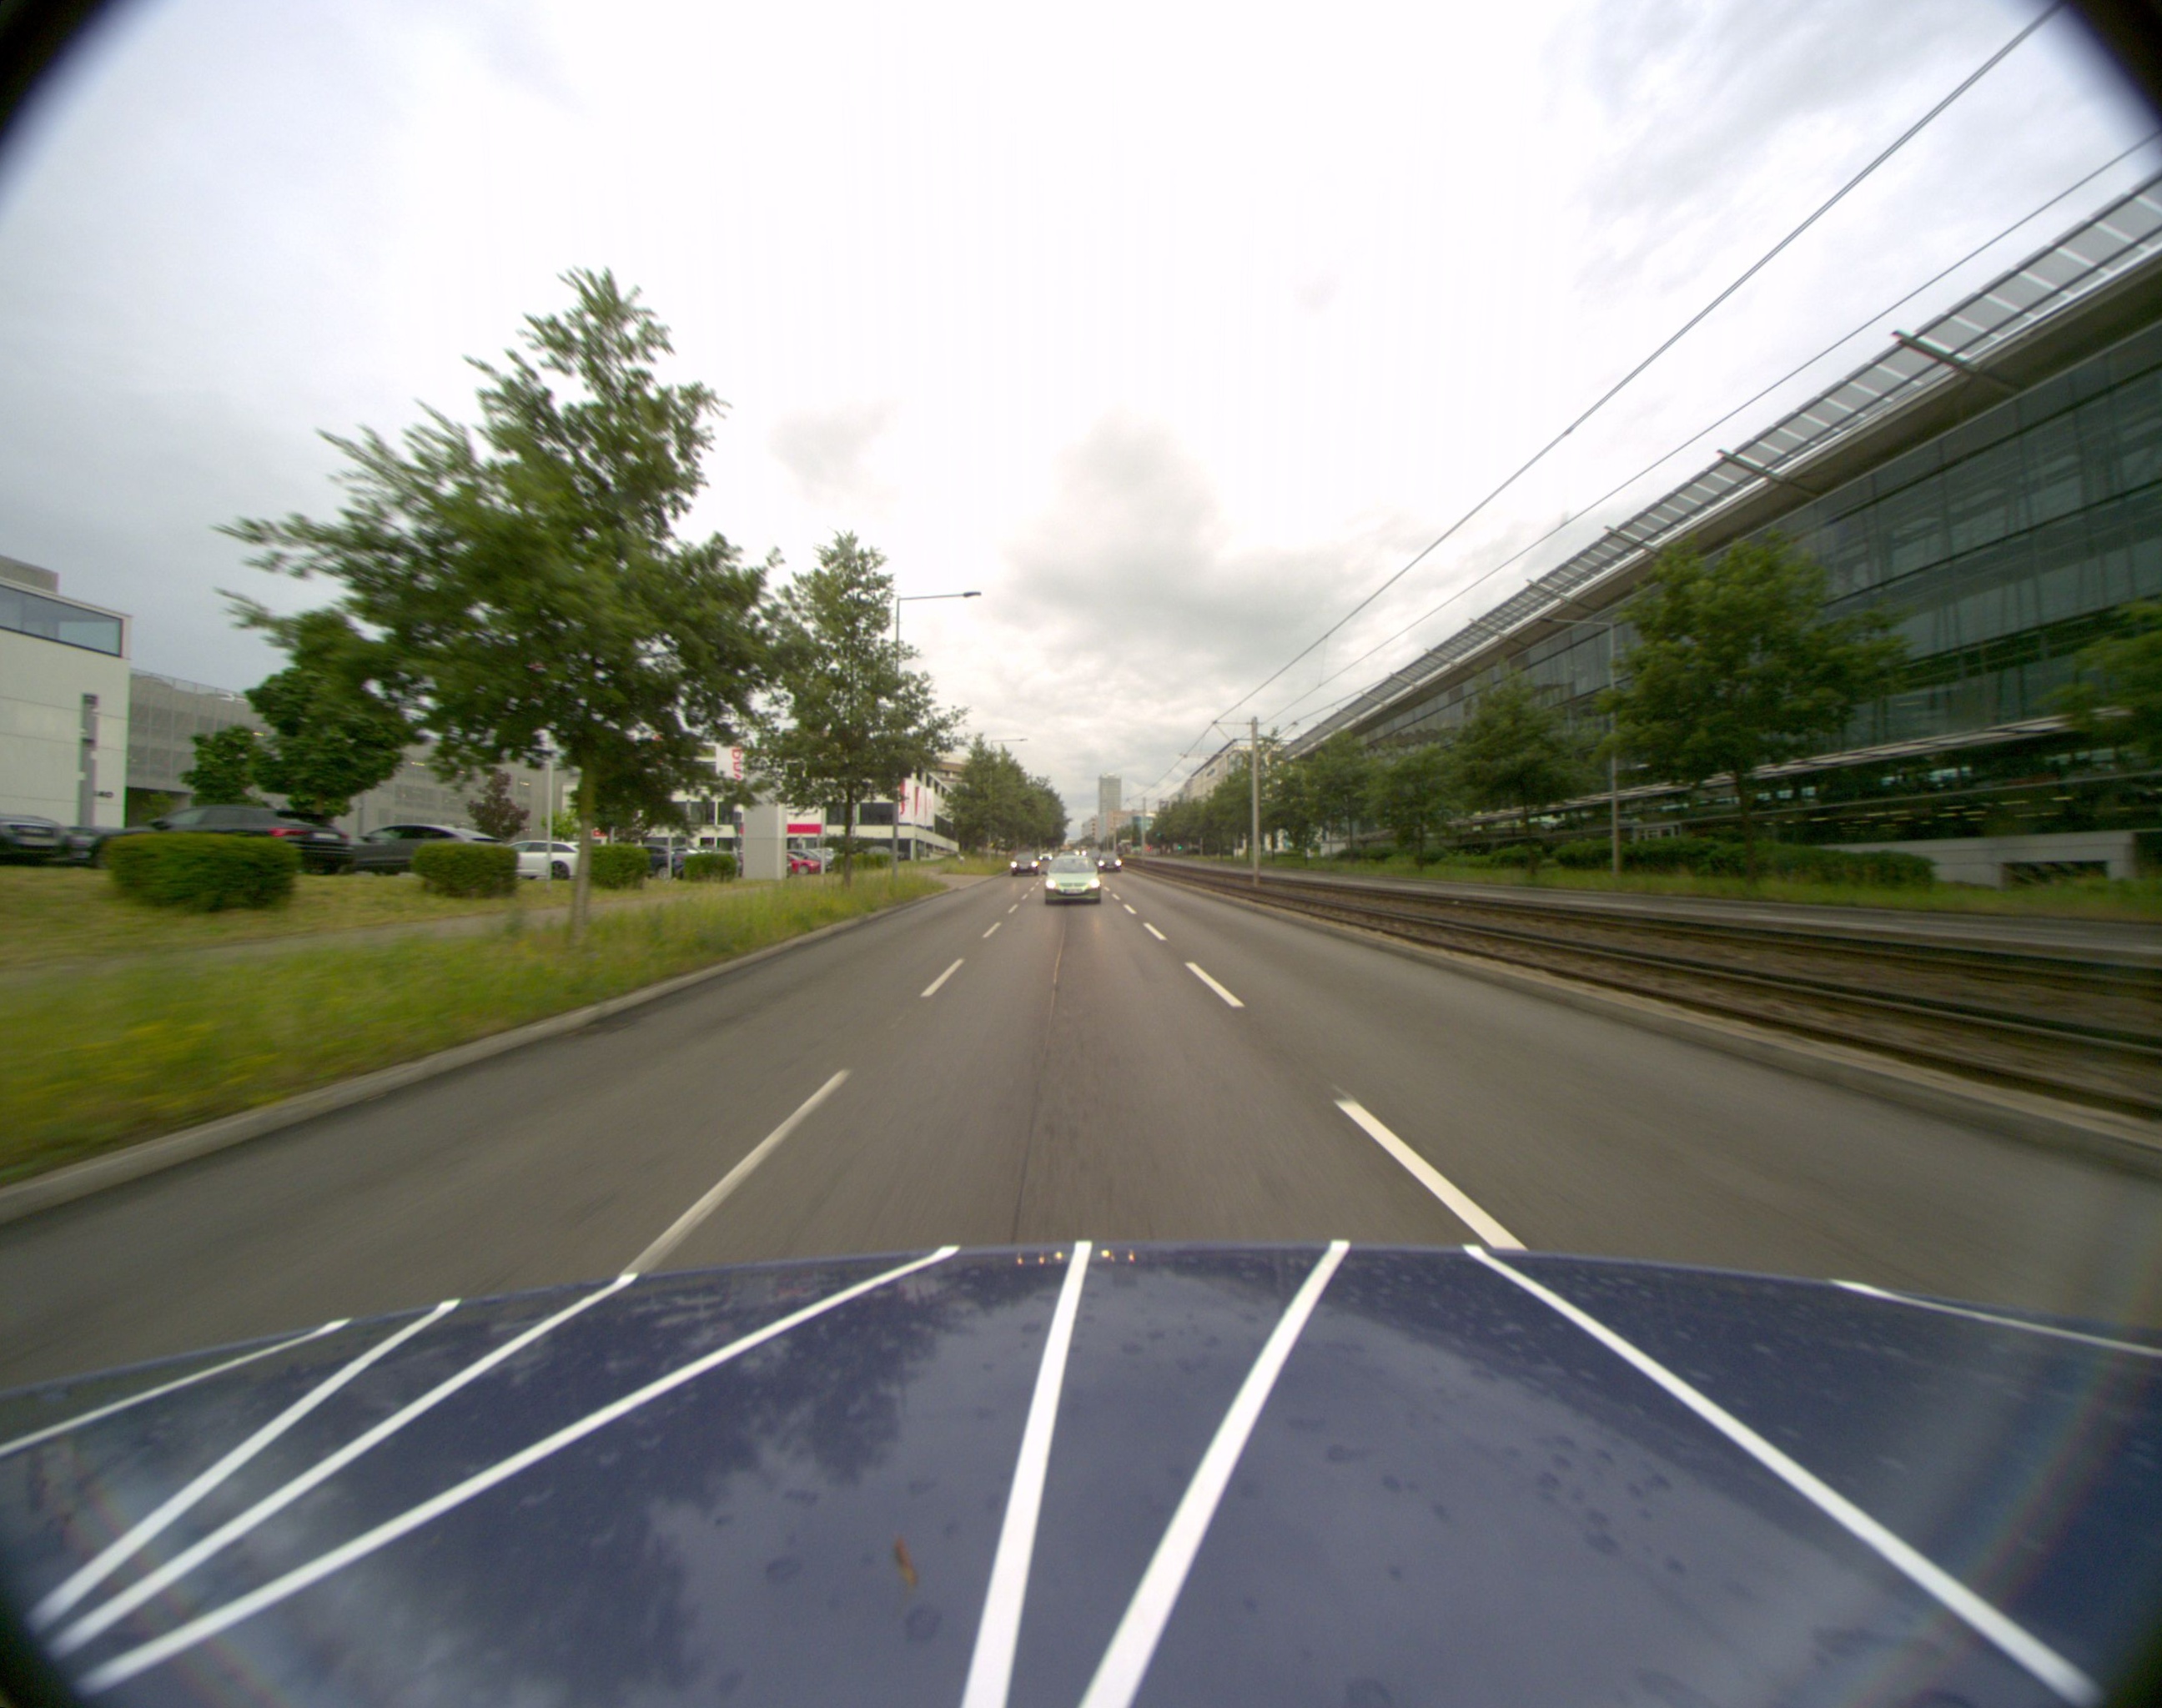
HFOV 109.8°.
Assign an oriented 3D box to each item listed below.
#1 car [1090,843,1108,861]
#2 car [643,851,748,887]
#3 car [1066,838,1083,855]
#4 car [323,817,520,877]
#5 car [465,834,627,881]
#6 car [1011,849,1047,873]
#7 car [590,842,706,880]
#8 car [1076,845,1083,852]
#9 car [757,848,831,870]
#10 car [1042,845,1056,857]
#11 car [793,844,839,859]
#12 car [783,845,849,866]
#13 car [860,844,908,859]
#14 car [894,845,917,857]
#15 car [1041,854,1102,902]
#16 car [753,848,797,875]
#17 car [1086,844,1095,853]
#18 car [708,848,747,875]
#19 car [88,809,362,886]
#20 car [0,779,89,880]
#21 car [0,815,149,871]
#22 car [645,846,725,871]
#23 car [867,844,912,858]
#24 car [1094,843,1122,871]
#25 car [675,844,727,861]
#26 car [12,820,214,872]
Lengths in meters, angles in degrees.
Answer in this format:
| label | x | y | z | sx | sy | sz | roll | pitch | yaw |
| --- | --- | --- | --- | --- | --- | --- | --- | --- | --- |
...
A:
| label | x | y | z | sx | sy | sz | roll | pitch | yaw |
| --- | --- | --- | --- | --- | --- | --- | --- | --- | --- |
| car | 1.937 | -0.189 | 81.933 | 1.860 | 1.799 | 4.115 | -1 | -1 | 2 |
| car | -18.787 | 0.689 | 37.194 | 4.119 | 1.585 | 1.946 | -1 | 2 | -9 |
| car | -0.839 | -1.011 | 98.186 | 1.998 | 2.002 | 3.999 | -2 | 1 | 2 |
| car | -19.014 | -0.185 | 22.043 | 4.116 | 1.599 | 1.692 | -1 | 0 | -2 |
| car | -19.065 | 0.106 | 27.214 | 4.532 | 1.585 | 1.692 | -1 | 2 | -2 |
| car | -3.600 | 0.485 | 53.532 | 1.828 | 1.599 | 4.116 | -2 | -1 | 5 |
| car | -19.484 | 0.331 | 34.295 | 4.116 | 1.584 | 1.871 | -1 | -1 | -2 |
| car | -0.355 | -1.682 | 227.016 | 1.998 | 1.838 | 3.999 | -2 | 1 | 1 |
| car | -20.254 | 0.337 | 53.792 | 4.475 | 1.542 | 1.929 | 0 | 2 | -6 |
| car | -4.967 | -0.494 | 119.690 | 1.860 | 1.799 | 4.115 | -1 | -1 | 2 |
| car | -27.876 | -0.275 | 79.991 | 4.288 | 1.542 | 1.826 | 0 | 2 | -3 |
| car | -20.781 | 0.100 | 59.720 | 4.473 | 1.542 | 1.930 | 1 | 2 | -2 |
| car | -20.206 | -0.242 | 78.184 | 4.409 | 1.492 | 2.039 | 1 | 2 | -1 |
| car | -20.356 | -0.402 | 88.181 | 1.902 | 1.330 | 3.921 | 0 | 1 | -2 |
| car | -0.254 | 0.776 | 26.220 | 1.828 | 1.499 | 4.115 | -2 | 0 | 3 |
| car | -19.686 | 0.455 | 48.796 | 1.841 | 1.584 | 4.349 | -1 | 2 | -32 |
| car | 2.159 | -1.392 | 179.219 | 1.998 | 2.002 | 3.999 | -2 | 1 | 0 |
| car | -22.683 | 0.448 | 48.719 | 1.775 | 1.584 | 3.552 | 1 | 0 | -33 |
| car | -19.154 | -0.143 | 17.153 | 4.116 | 1.565 | 1.692 | -1 | 0 | -2 |
| car | -18.820 | -0.330 | 11.796 | 4.432 | 1.565 | 1.692 | -1 | 0 | -2 |
| car | -30.362 | -0.326 | 22.159 | 4.116 | 1.565 | 1.692 | 0 | 1 | -2 |
| car | -27.182 | 0.303 | 52.284 | 4.475 | 1.542 | 1.929 | 2 | 1 | -6 |
| car | -20.287 | -0.299 | 80.676 | 4.331 | 1.370 | 1.836 | 0 | 2 | -3 |
| car | 2.079 | 0.201 | 57.871 | 1.998 | 2.002 | 3.999 | -2 | 1 | 2 |
| car | -38.387 | -0.162 | 76.891 | 4.288 | 1.584 | 1.826 | 0 | 2 | -3 |
| car | -30.663 | -0.234 | 24.167 | 4.116 | 1.565 | 1.692 | 0 | 0 | -2 |
